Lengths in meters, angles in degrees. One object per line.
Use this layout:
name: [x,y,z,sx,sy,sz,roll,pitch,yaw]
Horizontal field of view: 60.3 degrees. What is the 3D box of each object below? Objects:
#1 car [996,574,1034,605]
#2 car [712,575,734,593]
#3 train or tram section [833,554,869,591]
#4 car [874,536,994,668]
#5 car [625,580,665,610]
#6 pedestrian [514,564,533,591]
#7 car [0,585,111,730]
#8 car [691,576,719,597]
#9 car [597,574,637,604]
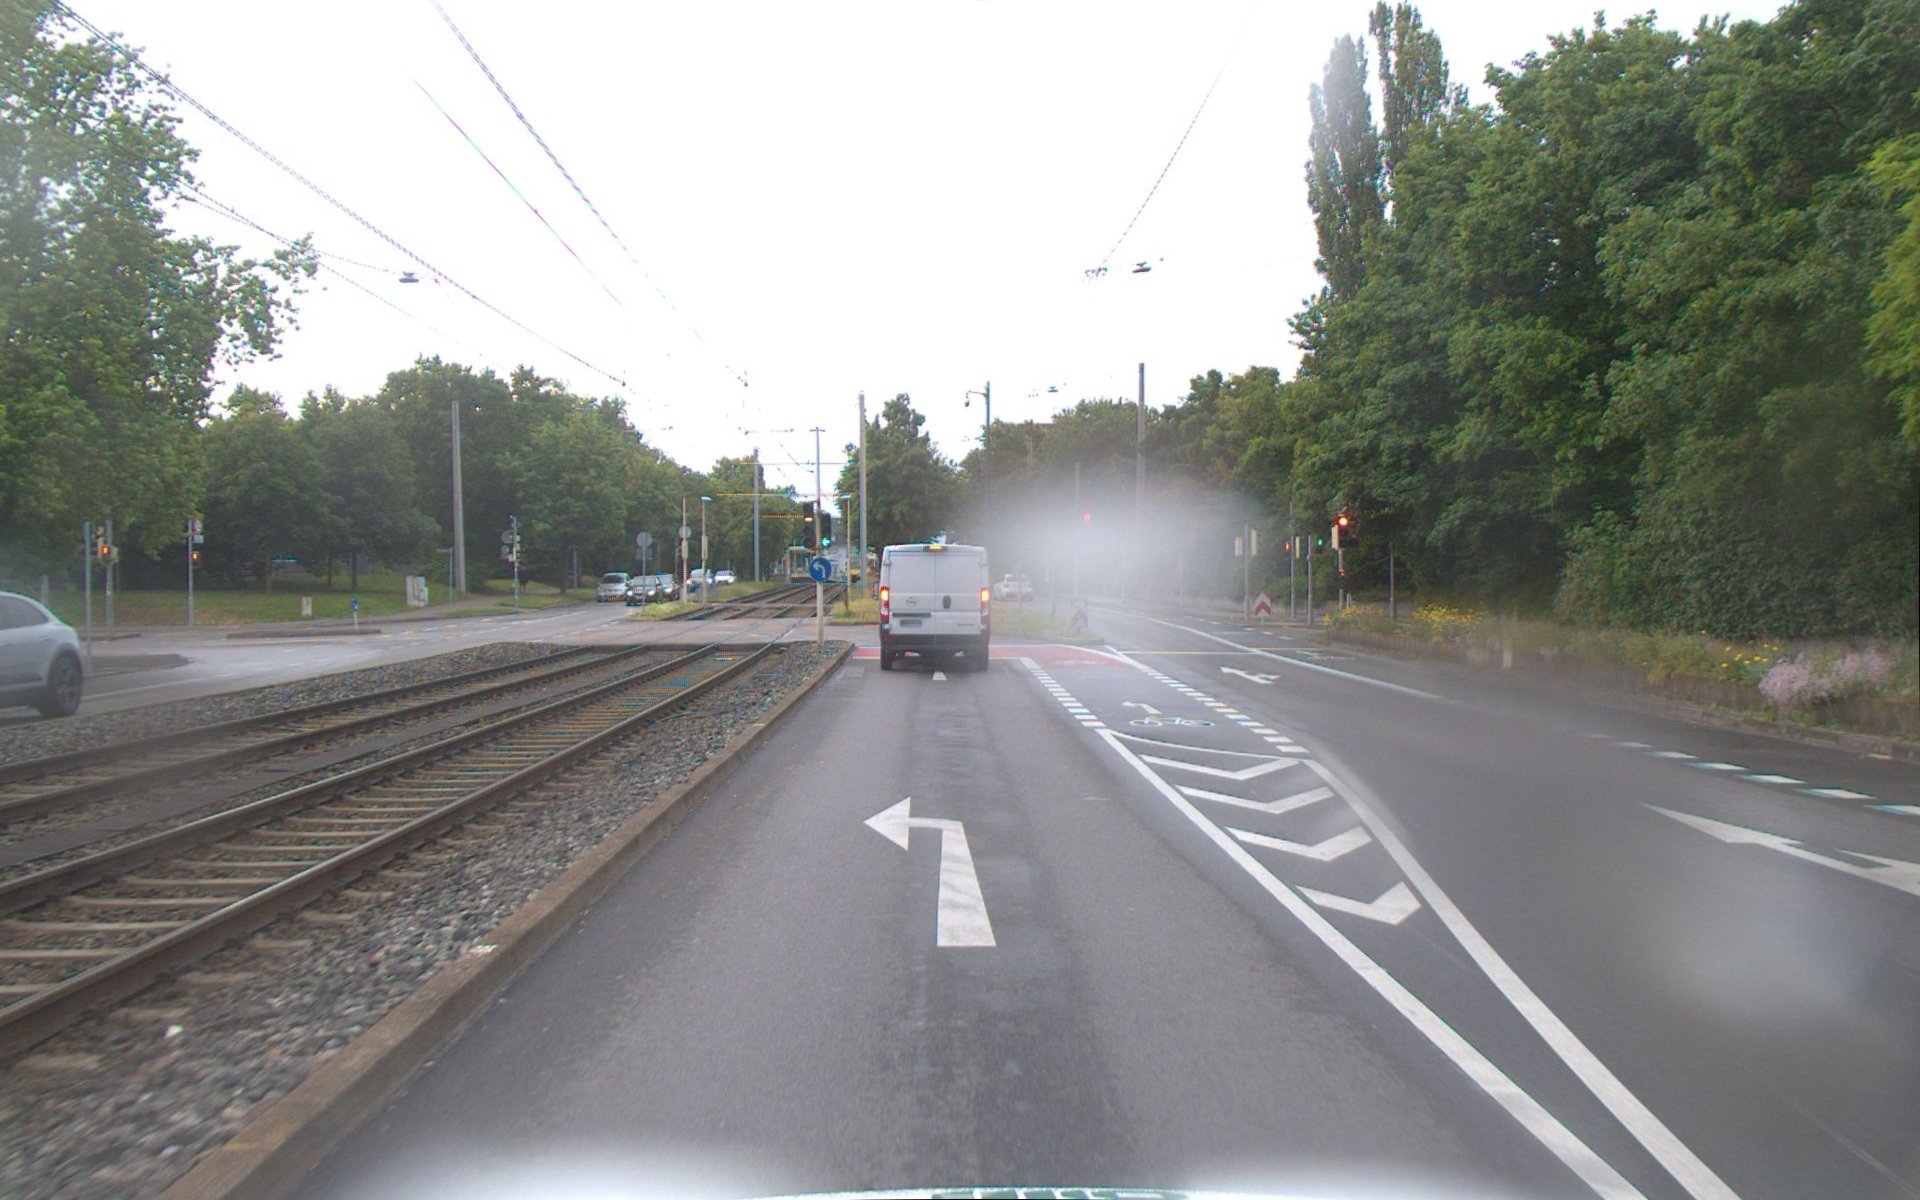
car: [2.906,-0.573,88.120,1.669,1.548,3.790,1,1,-3]
car: [-20.505,-1.403,143.300,1.569,1.426,3.789,1,1,-4]
train or tram section: [-13.680,-3.405,208.062,3.978,3.963,15.031,1,-1,-2]
car: [-0.452,0.035,31.753,2.102,2.323,5.062,0,0,0]
car: [-16.345,-0.261,85.951,1.569,1.426,3.789,1,1,-4]
pedestrian: [-26.531,-1.390,100.440,0.994,1.628,1.038,0,1,-9]
car: [-12.210,0.708,19.681,1.954,1.678,4.756,-2,0,-4]
car: [-18.362,-1.014,119.170,1.569,1.426,3.789,1,1,-4]
car: [-20.049,-0.672,96.907,1.685,1.580,3.860,-3,2,-4]
